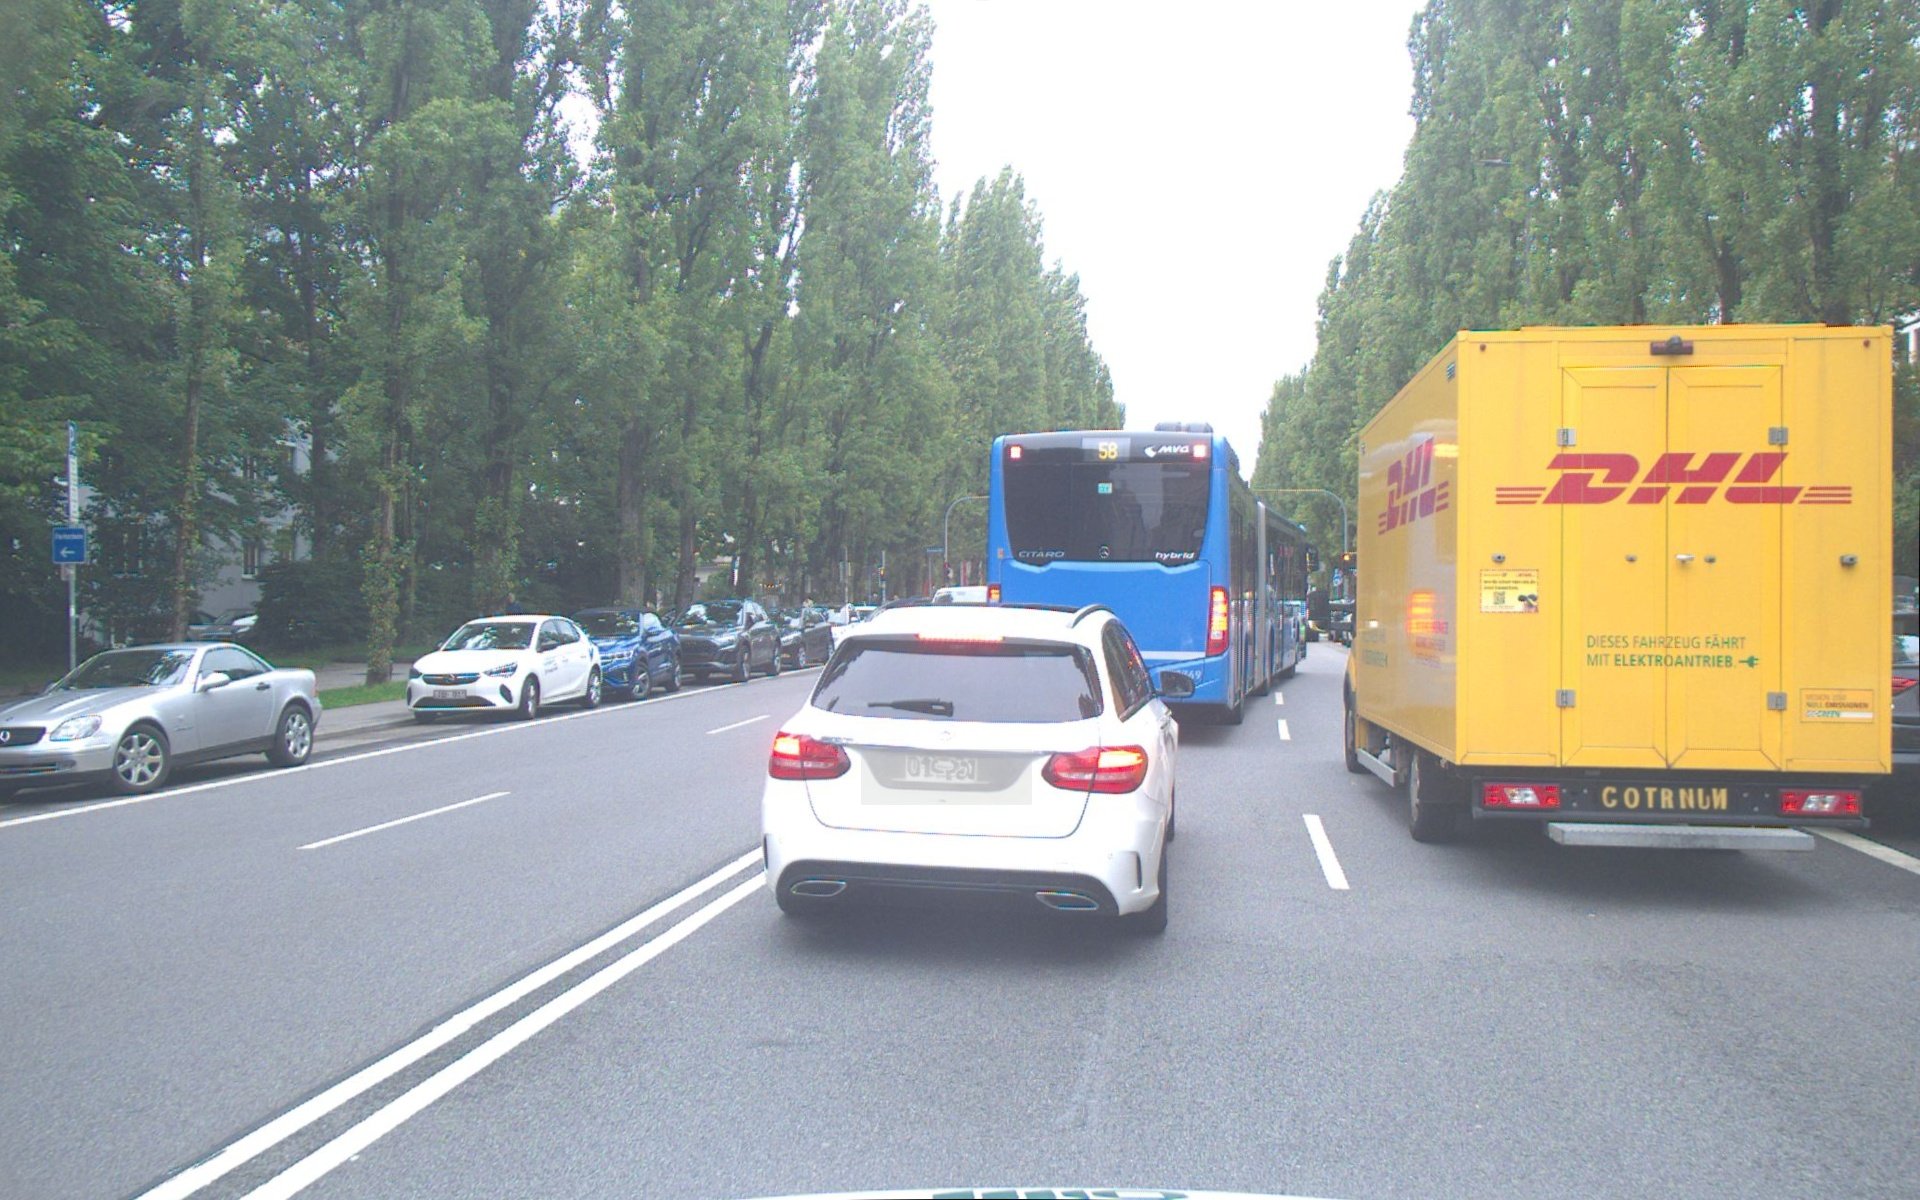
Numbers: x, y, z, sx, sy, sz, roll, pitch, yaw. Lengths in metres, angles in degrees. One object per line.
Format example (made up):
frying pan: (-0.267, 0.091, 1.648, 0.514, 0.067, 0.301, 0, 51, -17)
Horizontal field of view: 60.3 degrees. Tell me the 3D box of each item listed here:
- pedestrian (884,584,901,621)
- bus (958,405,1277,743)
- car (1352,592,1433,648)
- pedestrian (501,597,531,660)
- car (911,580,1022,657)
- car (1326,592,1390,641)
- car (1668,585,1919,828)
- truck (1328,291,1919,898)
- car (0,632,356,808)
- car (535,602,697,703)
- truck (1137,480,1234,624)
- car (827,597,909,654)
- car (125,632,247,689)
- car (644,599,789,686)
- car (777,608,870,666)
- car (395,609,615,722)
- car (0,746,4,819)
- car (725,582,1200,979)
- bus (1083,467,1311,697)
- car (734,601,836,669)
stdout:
pedestrian: (-3.823, 0.143, 93.137, 0.812, 2.049, 0.778, -1, 0, 7)
bus: (2.368, -0.286, 20.720, 2.795, 3.270, 9.067, 0, 0, 13)
car: (12.405, 0.542, 47.671, 1.760, 1.501, 4.003, -1, 0, 8)
pedestrian: (-12.692, 0.805, 47.294, 0.587, 1.769, 0.641, -1, 0, 9)
car: (0.269, 0.467, 45.855, 2.136, 1.924, 5.701, -2, 0, 9)
car: (13.885, 0.547, 57.879, 1.770, 1.646, 4.003, -1, 0, 7)
car: (6.785, 0.656, 12.435, 1.688, 1.521, 4.327, 0, 0, 9)
truck: (4.103, -0.035, 11.821, 2.278, 2.949, 7.339, 0, 0, 8)
car: (-7.560, 1.051, 15.784, 1.546, 1.327, 4.032, -2, 0, 9)
car: (-5.895, 0.856, 28.817, 1.706, 1.545, 4.120, -2, 0, 3)
truck: (6.911, -1.368, 51.435, 2.658, 4.034, 9.225, -1, 0, 7)
car: (-2.689, 0.733, 49.071, 1.672, 1.575, 4.003, -1, 0, 8)
car: (-25.752, 1.983, 55.207, 1.952, 1.713, 4.267, -1, 0, 1)
car: (-4.925, 0.818, 34.062, 1.753, 1.575, 4.342, -4, 0, 8)
car: (-3.635, 0.966, 44.645, 1.639, 1.438, 4.003, -1, 0, 8)
car: (-6.581, 0.905, 24.376, 1.649, 1.437, 4.008, -2, 0, 8)
car: (-8.423, 0.869, 10.167, 1.840, 1.687, 4.722, -3, 0, 7)
car: (0.318, 0.668, 8.604, 1.787, 1.480, 4.586, 0, 0, 9)
bus: (4.494, -0.285, 29.264, 2.811, 3.362, 9.797, 0, 0, 15)
car: (-4.208, 0.821, 40.324, 1.507, 1.458, 3.872, -4, 0, 8)
